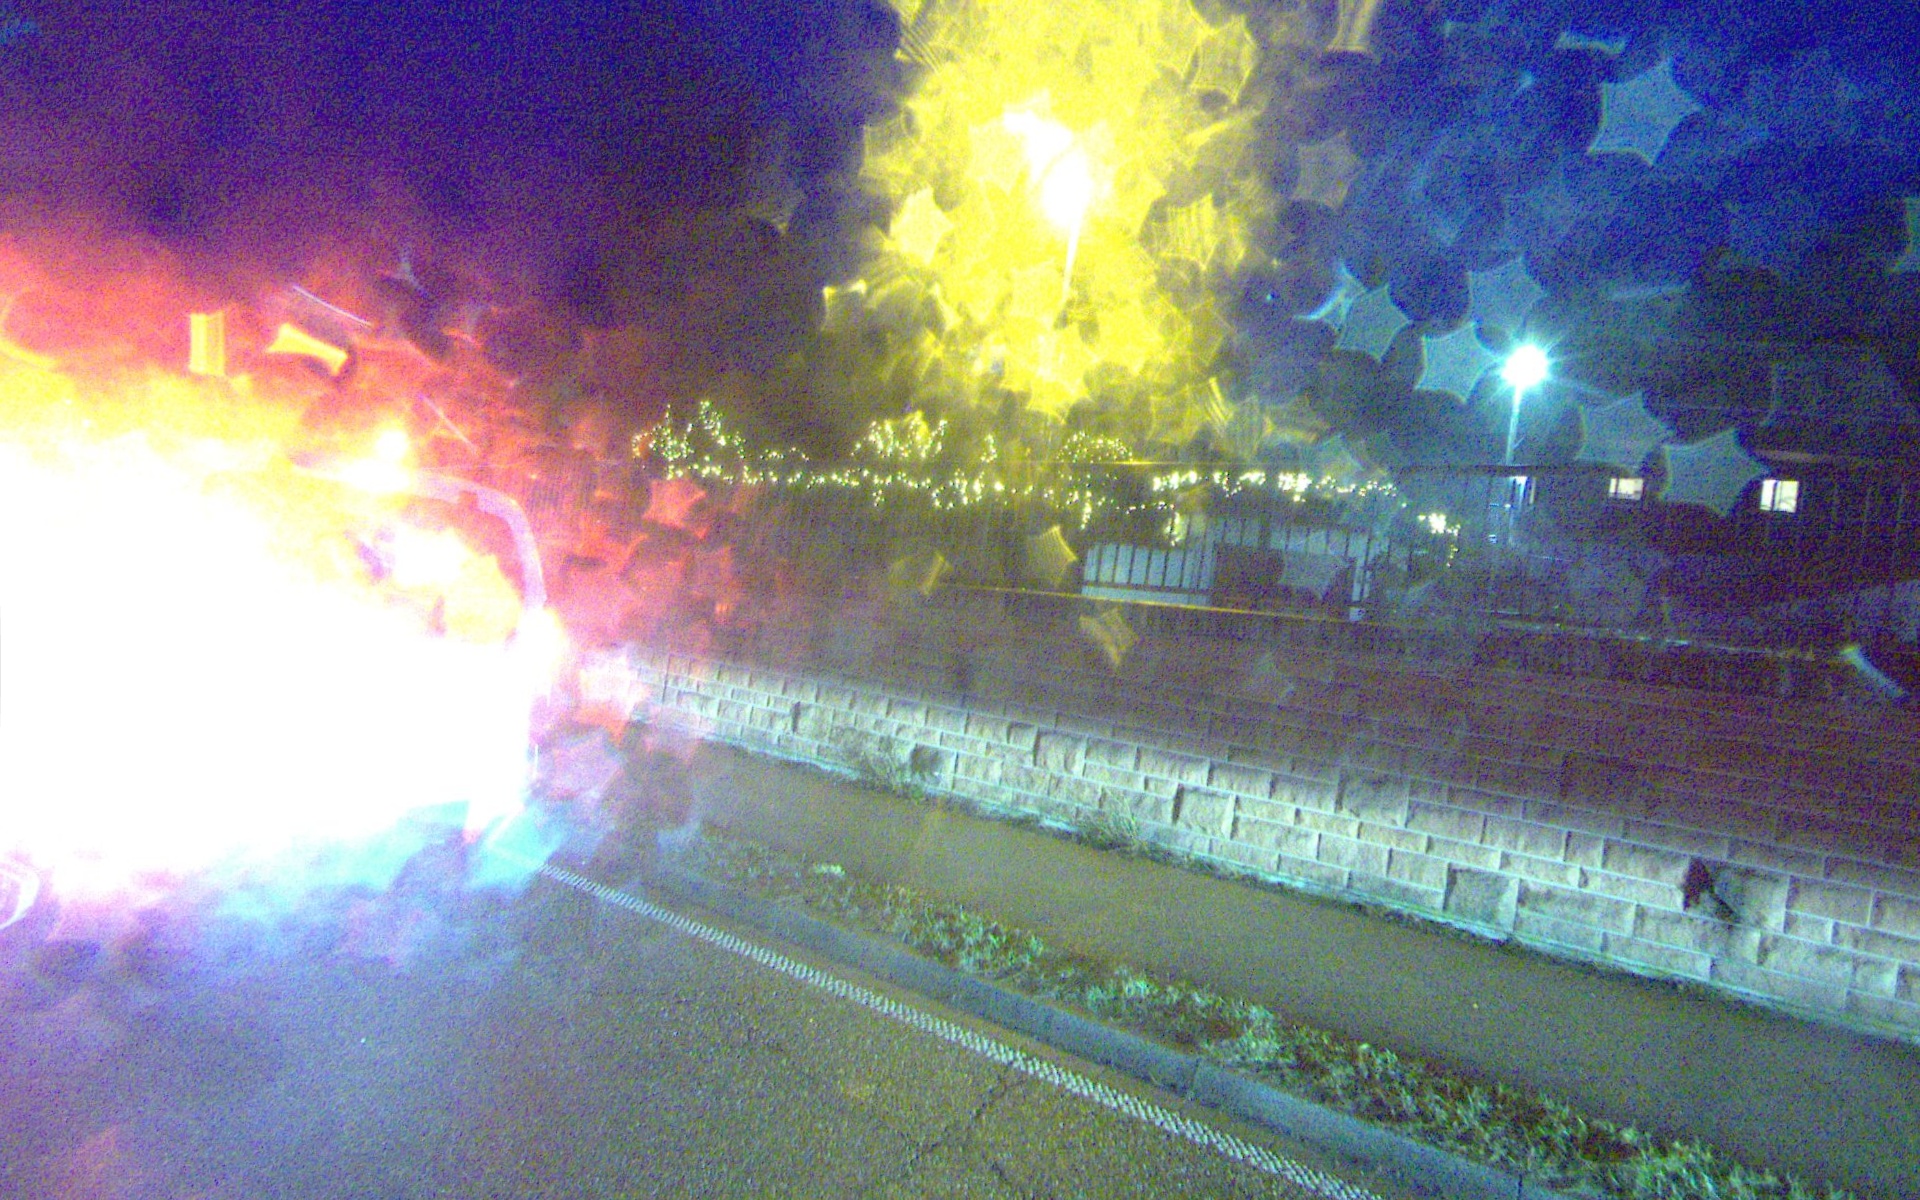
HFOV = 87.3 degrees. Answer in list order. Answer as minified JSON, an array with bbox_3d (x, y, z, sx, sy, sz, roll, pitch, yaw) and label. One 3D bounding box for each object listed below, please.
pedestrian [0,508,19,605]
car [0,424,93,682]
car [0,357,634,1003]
[{"bbox_3d":[-17.639,-0.826,18.182,0.532,1.721,0.624,7,-1,29],"label":"pedestrian"},{"bbox_3d":[-9.708,-0.609,8.786,3.934,2.070,1.973,6,-2,32],"label":"car"},{"bbox_3d":[-3.855,0.131,4.839,4.269,1.886,1.855,6,-2,32],"label":"car"}]
